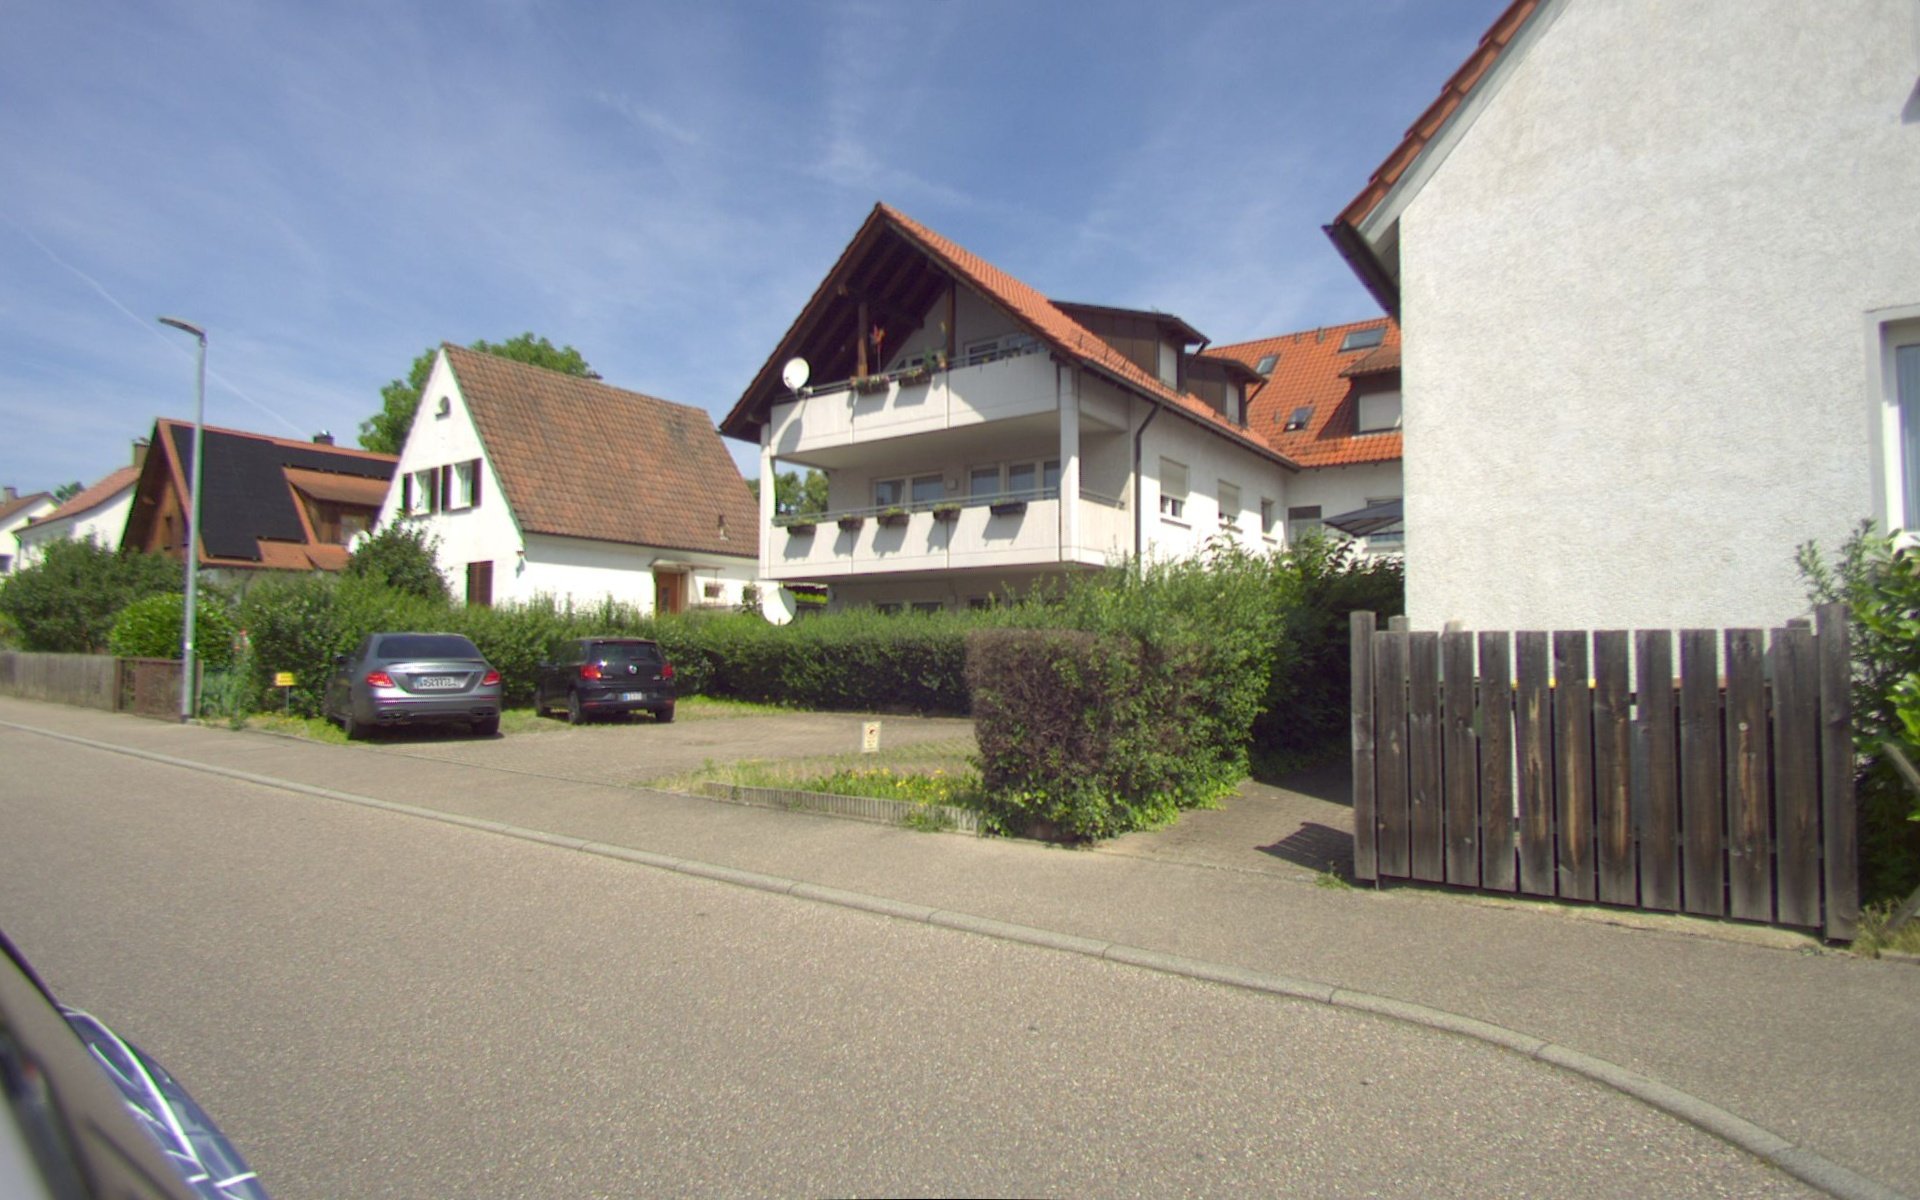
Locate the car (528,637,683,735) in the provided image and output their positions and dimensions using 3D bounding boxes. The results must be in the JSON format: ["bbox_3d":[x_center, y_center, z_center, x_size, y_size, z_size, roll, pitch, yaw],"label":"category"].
[{"bbox_3d":[-6.267,1.420,17.675,1.666,1.513,3.661,2,-3,-34],"label":"car"}]

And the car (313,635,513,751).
[{"bbox_3d":[-8.168,1.247,14.882,1.803,1.443,4.572,2,-3,-38],"label":"car"}]
